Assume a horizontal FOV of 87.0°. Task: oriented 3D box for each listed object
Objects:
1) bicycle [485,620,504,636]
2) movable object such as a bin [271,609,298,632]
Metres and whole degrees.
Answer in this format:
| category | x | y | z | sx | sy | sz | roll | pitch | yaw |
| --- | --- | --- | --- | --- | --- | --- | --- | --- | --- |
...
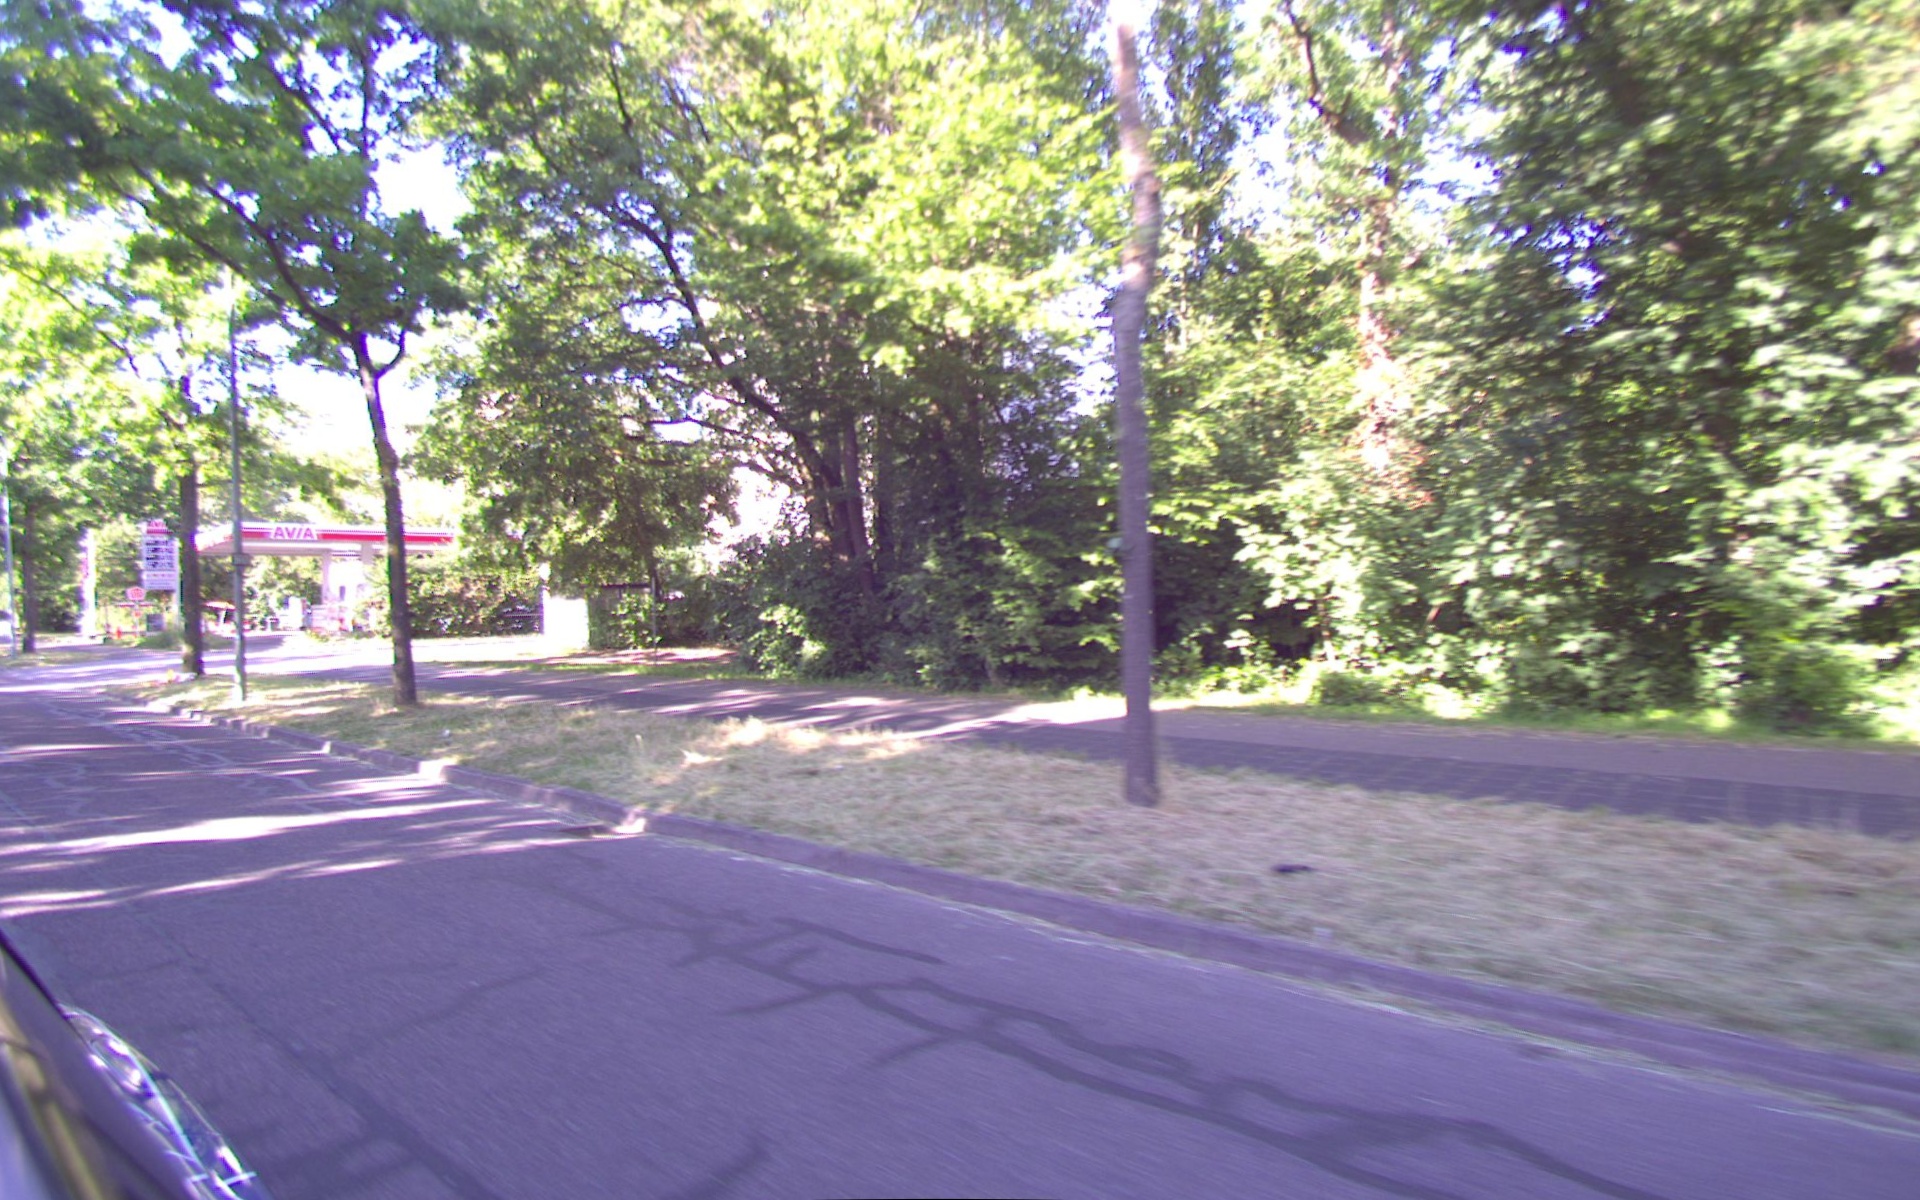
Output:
| category | x | y | z | sx | sy | sz | roll | pitch | yaw |
| --- | --- | --- | --- | --- | --- | --- | --- | --- | --- |
| bicycle | -24.185 | 1.446 | 52.580 | 0.609 | 0.813 | 1.784 | -1 | 0 | -34 |
| movable object such as a bin | -47.035 | 1.395 | 70.445 | 1.267 | 1.553 | 1.290 | -1 | 0 | 41 |
